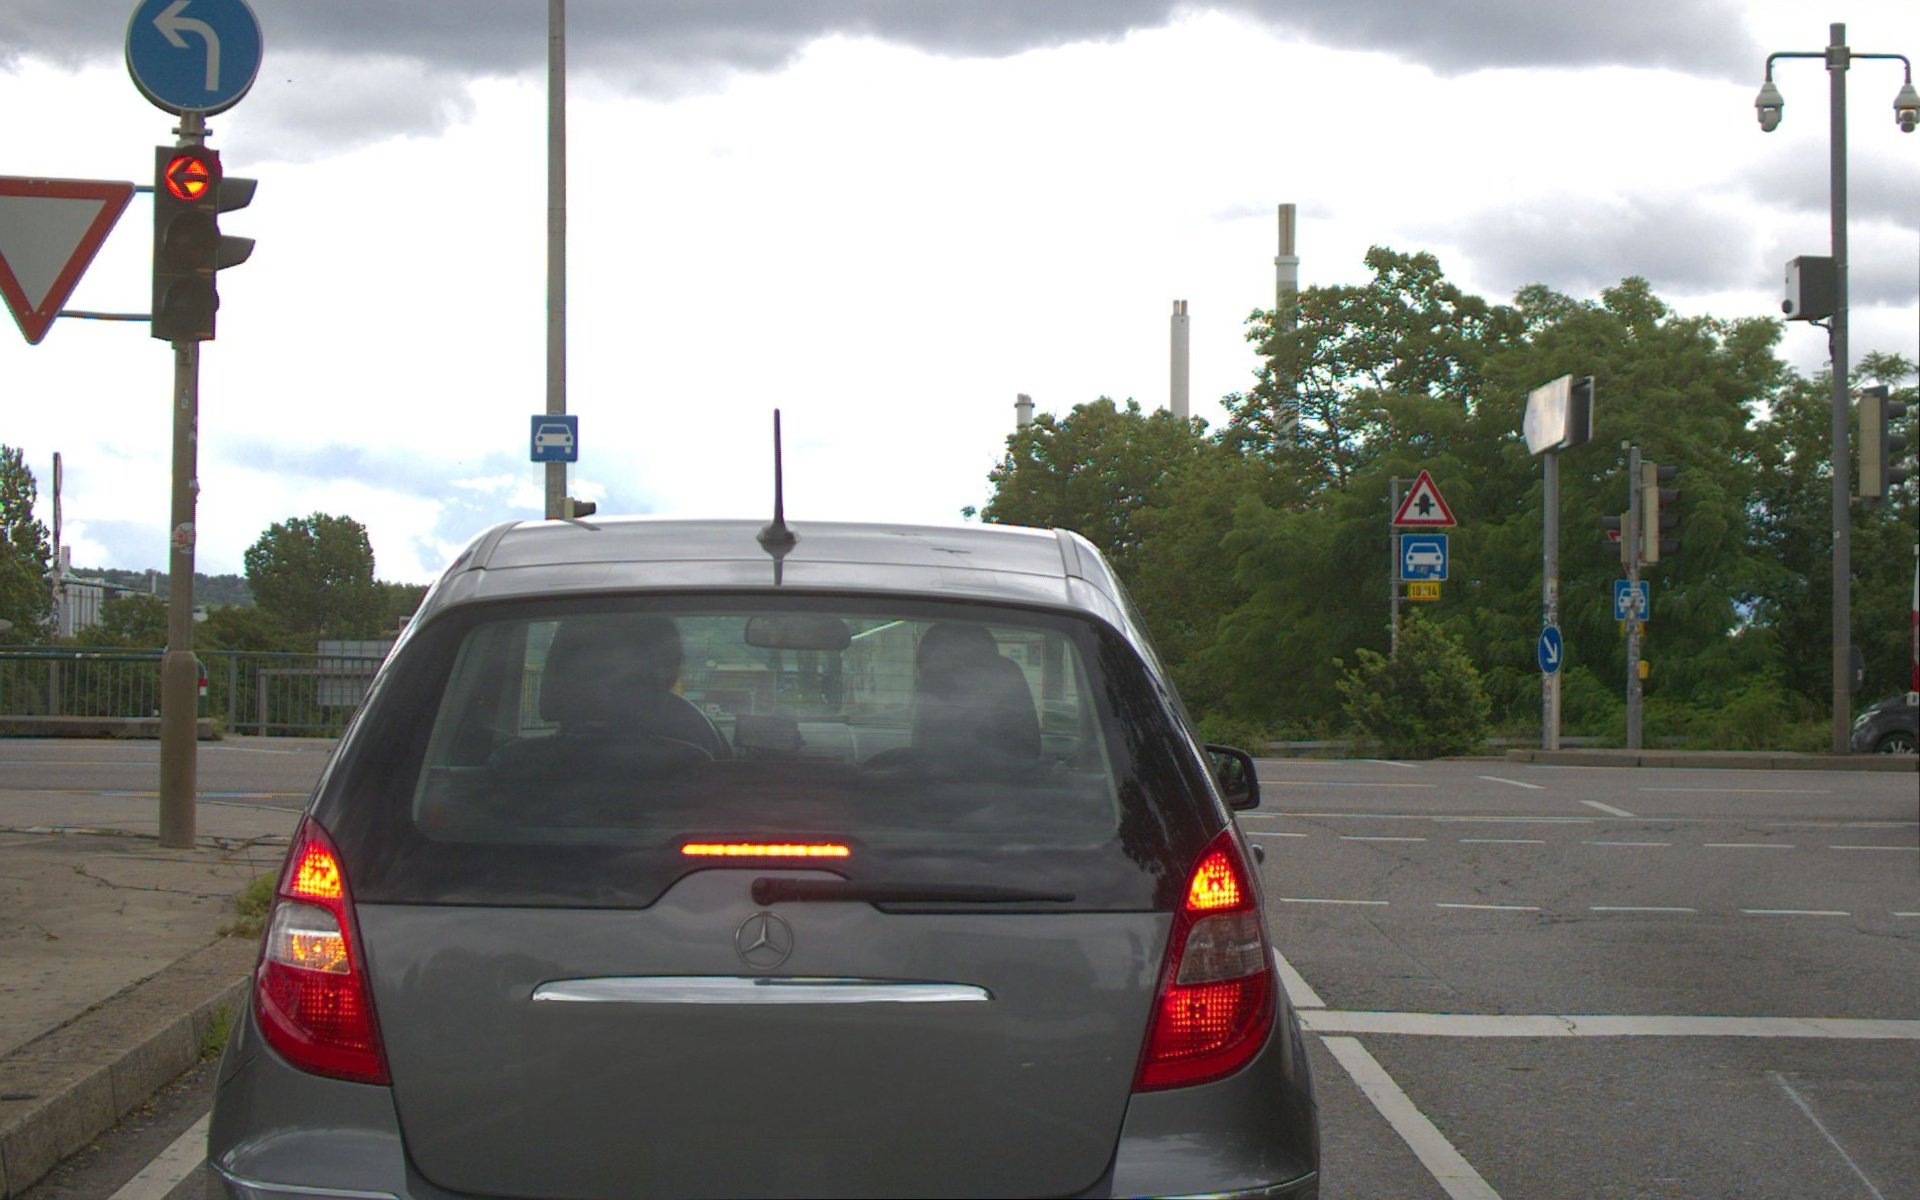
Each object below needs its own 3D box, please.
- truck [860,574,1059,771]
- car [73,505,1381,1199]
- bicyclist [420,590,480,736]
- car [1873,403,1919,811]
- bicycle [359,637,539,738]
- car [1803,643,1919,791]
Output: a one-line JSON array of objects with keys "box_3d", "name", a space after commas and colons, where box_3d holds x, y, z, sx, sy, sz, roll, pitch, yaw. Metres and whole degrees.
[{"box_3d": [-0.152, 1.318, 69.206, 2.789, 3.506, 10.250, 0, 1, -7], "name": "truck"}, {"box_3d": [-0.282, 0.606, 6.890, 1.858, 1.583, 4.000, 0, 2, 2], "name": "car"}, {"box_3d": [-5.949, 0.727, 40.059, 0.653, 1.668, 0.870, 0, 1, -11], "name": "bicyclist"}, {"box_3d": [9.635, -0.055, 24.941, 6.760, 2.774, 2.116, -1, -2, -39], "name": "car"}, {"box_3d": [-5.961, 1.012, 40.050, 2.032, 1.121, 0.929, 0, 1, -11], "name": "bicycle"}, {"box_3d": [13.473, 1.502, 43.228, 5.232, 1.765, 2.001, 1, 1, 31], "name": "car"}]
